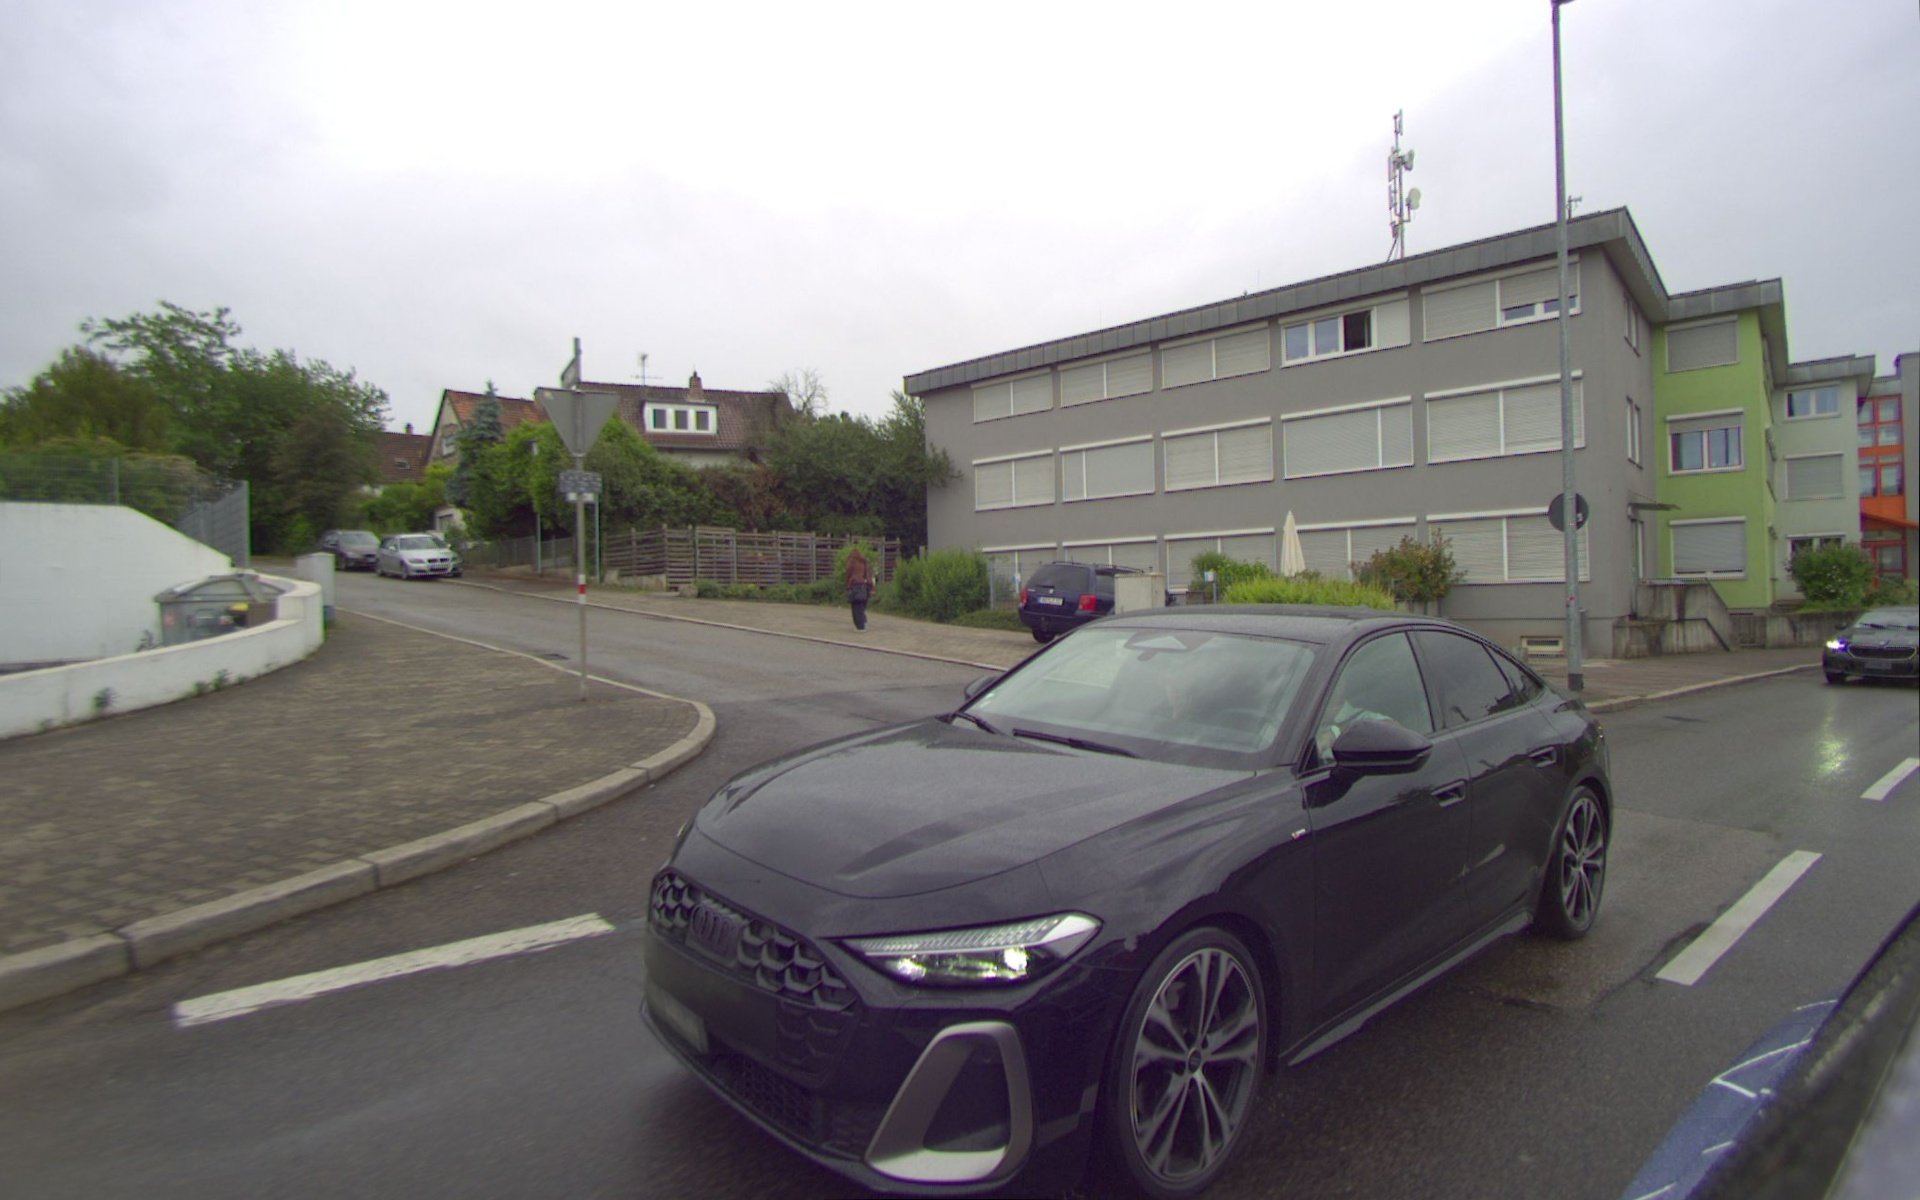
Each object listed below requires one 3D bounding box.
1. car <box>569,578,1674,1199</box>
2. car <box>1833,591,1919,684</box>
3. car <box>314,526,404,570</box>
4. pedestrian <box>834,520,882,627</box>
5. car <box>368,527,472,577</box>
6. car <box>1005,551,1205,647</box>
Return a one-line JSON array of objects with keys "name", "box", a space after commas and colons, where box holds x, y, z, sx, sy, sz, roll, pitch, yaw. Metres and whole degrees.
[{"name": "car", "box": [1.122, 0.698, 4.070, 4.659, 1.442, 1.869, -3, 1, -42]}, {"name": "car", "box": [18.357, 0.647, 19.299, 3.928, 1.538, 1.872, -3, 1, -38]}, {"name": "car", "box": [-22.334, -1.971, 37.577, 1.968, 1.492, 3.991, -4, 6, -44]}, {"name": "pedestrian", "box": [-1.988, -0.518, 19.700, 0.714, 2.038, 0.606, 1, 2, 40]}, {"name": "car", "box": [-17.862, -1.619, 33.391, 1.968, 1.492, 3.991, -4, 6, -44]}, {"name": "car", "box": [2.784, -0.109, 18.796, 1.808, 1.545, 3.941, 4, 5, 41]}]
